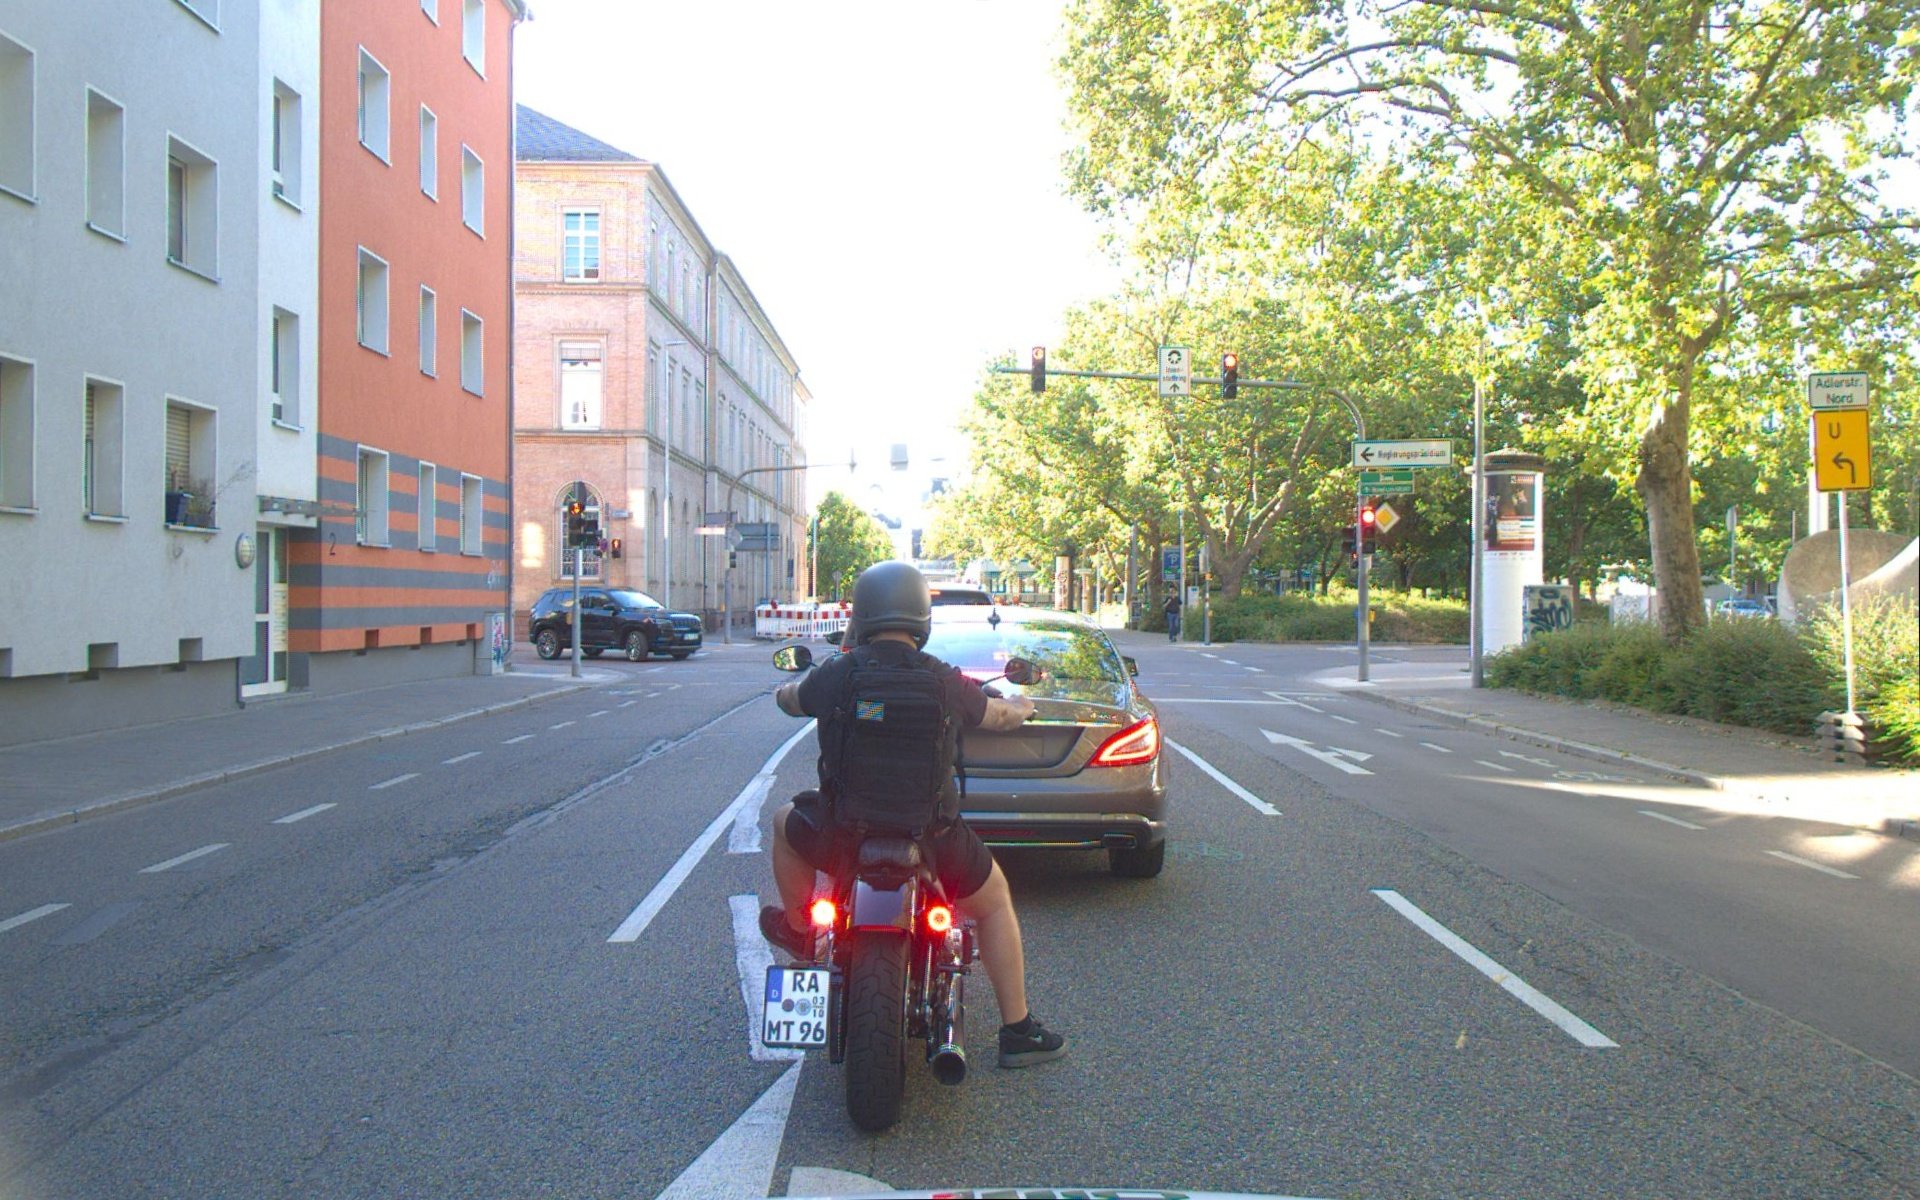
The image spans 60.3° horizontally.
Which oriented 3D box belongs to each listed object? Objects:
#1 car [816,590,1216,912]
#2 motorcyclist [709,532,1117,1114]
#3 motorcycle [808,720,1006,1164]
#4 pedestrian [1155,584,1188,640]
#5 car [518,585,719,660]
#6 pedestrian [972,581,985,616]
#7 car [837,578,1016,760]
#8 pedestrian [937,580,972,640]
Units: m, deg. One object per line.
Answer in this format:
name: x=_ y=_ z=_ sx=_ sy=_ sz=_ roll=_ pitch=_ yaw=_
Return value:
car: x=0.237 y=0.695 z=9.631 sx=1.844 sy=1.475 sz=3.819 roll=1 pitch=0 yaw=-1
motorcyclist: x=-0.141 y=0.633 z=5.317 sx=1.125 sy=1.626 sz=1.288 roll=1 pitch=0 yaw=-1
motorcycle: x=-0.154 y=0.971 z=5.346 sx=0.503 sy=1.020 sz=2.013 roll=1 pitch=0 yaw=-1
pedestrian: x=7.417 y=0.422 z=58.086 sx=0.741 sy=1.943 sz=0.917 roll=1 pitch=-1 yaw=-29
car: x=-7.883 y=0.495 z=38.137 sx=4.285 sy=1.597 sz=1.854 roll=1 pitch=0 yaw=26
pedestrian: x=1.141 y=-0.086 z=100.902 sx=0.748 sy=2.087 sz=0.712 roll=1 pitch=-1 yaw=-1
car: x=-0.329 y=0.607 z=16.739 sx=1.588 sy=1.622 sz=3.999 roll=0 pitch=0 yaw=-1
pedestrian: x=-0.175 y=0.325 z=52.415 sx=0.980 sy=1.858 sz=1.077 roll=1 pitch=0 yaw=5
